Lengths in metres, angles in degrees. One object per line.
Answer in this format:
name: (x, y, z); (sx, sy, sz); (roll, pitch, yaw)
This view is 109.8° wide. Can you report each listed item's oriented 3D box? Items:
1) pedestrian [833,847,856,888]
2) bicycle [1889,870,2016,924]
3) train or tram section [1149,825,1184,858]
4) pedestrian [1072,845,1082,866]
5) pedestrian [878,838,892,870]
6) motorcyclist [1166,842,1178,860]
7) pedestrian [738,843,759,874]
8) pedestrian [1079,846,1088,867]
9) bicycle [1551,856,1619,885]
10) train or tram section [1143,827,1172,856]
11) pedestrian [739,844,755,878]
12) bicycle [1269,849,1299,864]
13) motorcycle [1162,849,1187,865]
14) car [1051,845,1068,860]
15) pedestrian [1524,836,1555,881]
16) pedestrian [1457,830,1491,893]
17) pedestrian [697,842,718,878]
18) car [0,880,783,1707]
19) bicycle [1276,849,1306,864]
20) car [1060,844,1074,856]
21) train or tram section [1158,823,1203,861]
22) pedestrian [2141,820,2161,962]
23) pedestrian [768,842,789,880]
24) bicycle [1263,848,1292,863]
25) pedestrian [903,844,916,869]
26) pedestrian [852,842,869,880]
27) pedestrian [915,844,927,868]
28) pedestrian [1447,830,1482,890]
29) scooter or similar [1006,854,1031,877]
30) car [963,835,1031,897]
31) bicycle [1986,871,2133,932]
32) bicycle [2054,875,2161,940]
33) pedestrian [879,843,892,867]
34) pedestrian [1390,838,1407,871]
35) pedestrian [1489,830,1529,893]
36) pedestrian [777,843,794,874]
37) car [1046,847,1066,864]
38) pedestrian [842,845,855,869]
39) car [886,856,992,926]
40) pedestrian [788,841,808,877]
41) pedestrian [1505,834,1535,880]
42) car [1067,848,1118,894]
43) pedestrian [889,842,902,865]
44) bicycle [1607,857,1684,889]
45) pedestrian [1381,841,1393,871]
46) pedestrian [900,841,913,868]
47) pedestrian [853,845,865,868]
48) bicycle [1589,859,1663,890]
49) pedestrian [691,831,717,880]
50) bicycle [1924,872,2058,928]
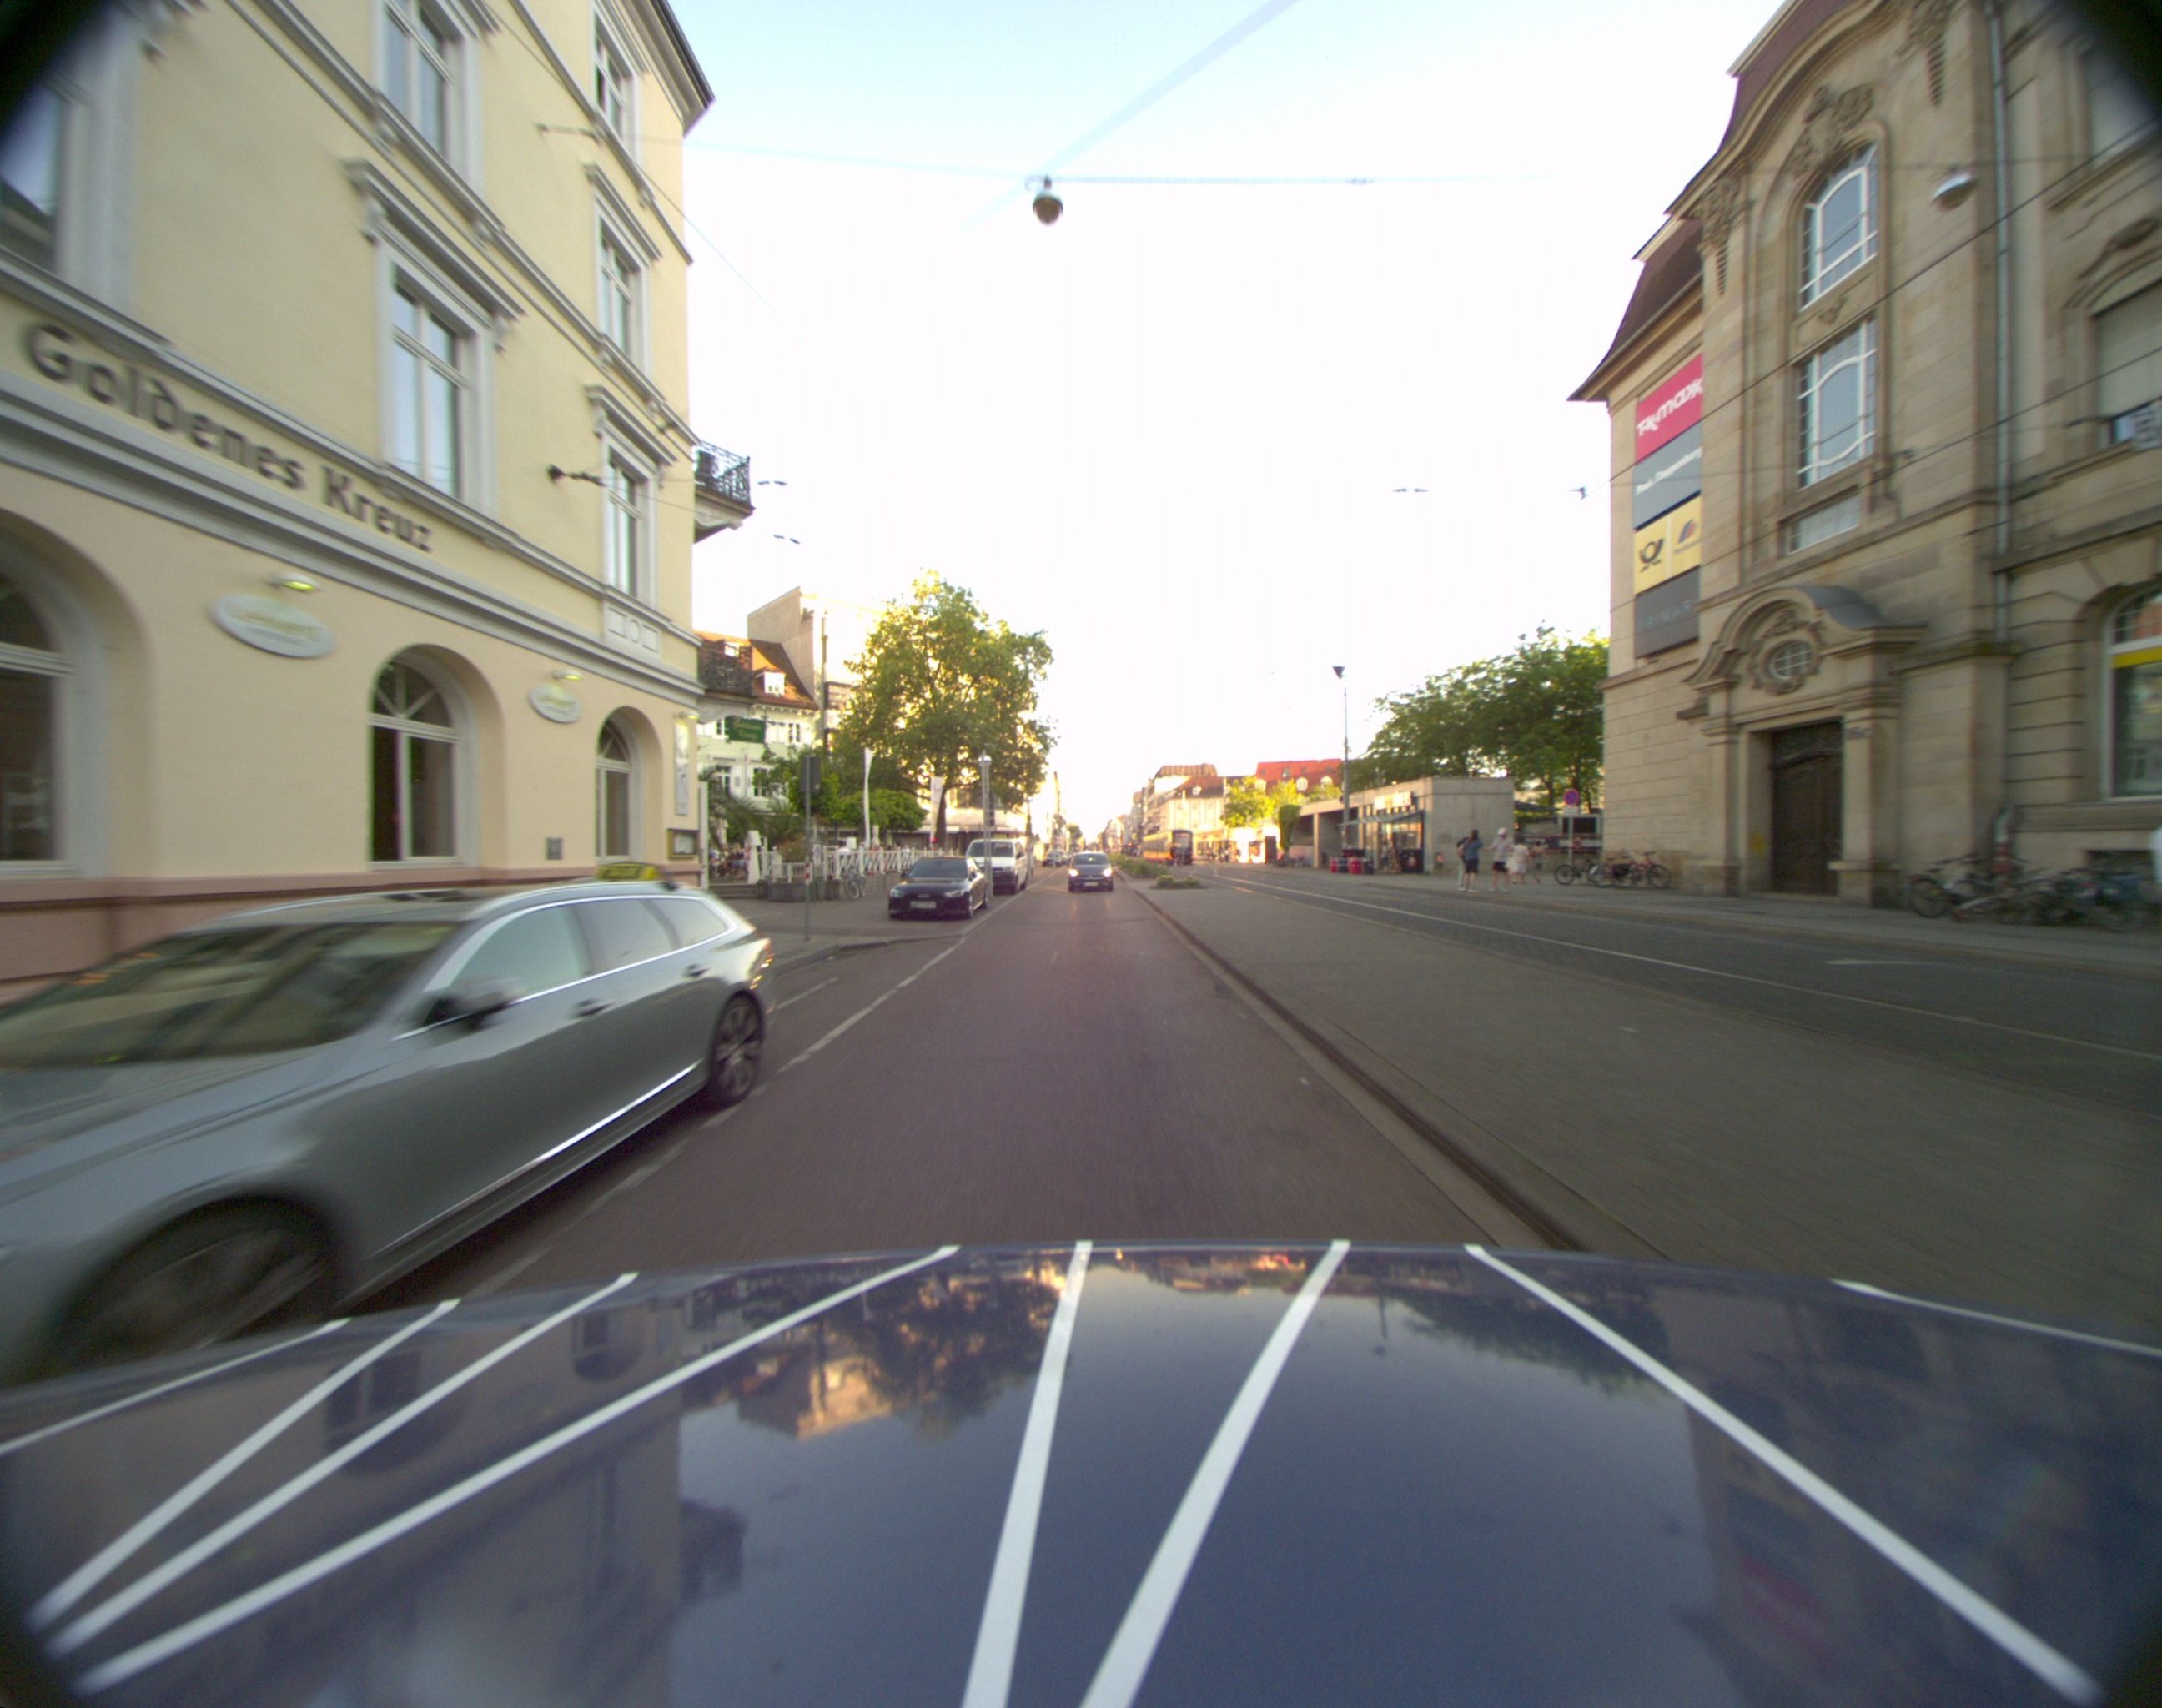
pedestrian: (-7.617, 0.423, 24.487); (0.532, 1.289, 0.491); (-1, 1, 1)
bicycle: (15.237, 0.753, 13.307); (1.579, 0.869, 0.451); (-2, 2, 5)
train or tram section: (10.273, -1.414, 92.157); (2.902, 3.664, 11.982); (-1, 0, 0)
pedestrian: (-0.324, 0.117, 60.375); (0.638, 1.616, 0.519); (-1, 2, -10)
pedestrian: (-9.495, 0.012, 36.840); (0.490, 1.549, 0.532); (-1, 1, 1)
motorcyclist: (7.529, -0.258, 62.939); (0.800, 1.431, 0.799); (-2, 2, -12)
pedestrian: (-14.762, 0.201, 33.732); (0.628, 1.325, 0.664); (-1, 1, 1)
pedestrian: (0.174, 0.168, 59.489); (0.638, 1.616, 0.519); (-1, 2, -10)
bicycle: (16.846, 0.548, 25.413); (1.839, 0.863, 0.635); (-2, 2, -1)
train or tram section: (10.375, -1.600, 103.524); (2.902, 3.664, 10.784); (-1, 0, 0)
pedestrian: (-12.242, 0.253, 27.844); (0.491, 1.259, 0.531); (-1, 1, -23)
bicycle: (16.107, 0.170, 60.300); (2.131, 1.153, 0.692); (-1, 1, 2)
motorcycle: (7.753, 0.231, 63.024); (1.780, 1.230, 0.805); (-2, 2, -13)
car: (-2.408, -0.197, 87.225); (1.771, 1.565, 3.999); (1, 1, 1)
pedestrian: (16.046, 0.156, 26.593); (0.661, 1.553, 0.679); (-1, 1, -3)
pedestrian: (11.003, 0.215, 21.300); (0.483, 1.726, 0.679); (0, 1, -15)
pedestrian: (-13.804, 0.216, 28.111); (0.490, 1.325, 0.532); (-1, 1, 1)
car: (-3.111, 1.000, 3.180); (1.810, 1.467, 4.692); (-2, 1, 0)
bicycle: (16.138, 0.202, 58.484); (2.131, 1.153, 0.692); (-1, 1, 2)
car: (-1.966, -0.503, 105.569); (1.771, 1.565, 3.999); (1, 1, 1)
train or tram section: (10.213, -1.196, 79.488); (2.902, 3.664, 13.480); (-1, 0, 0)
pedestrian: (12.601, 0.424, 8.659); (0.375, 1.622, 0.494); (-1, 2, 16)
pedestrian: (-10.830, 0.242, 27.191); (0.532, 1.325, 0.491); (-1, 1, 1)
bicycle: (15.978, 0.141, 61.841); (2.131, 1.153, 0.692); (-1, 1, 2)
pedestrian: (-8.977, 0.148, 39.753); (0.532, 1.289, 0.491); (-1, 1, 1)
pedestrian: (-7.739, 0.242, 26.634); (0.532, 1.289, 0.490); (-1, 1, -15)
pedestrian: (-8.920, 0.097, 42.365); (0.532, 1.325, 0.491); (-1, 1, 1)
pedestrian: (11.162, 0.166, 22.112); (0.650, 1.726, 0.594); (1, 1, -9)
scooter or similar: (-3.420, 0.650, 41.691); (1.345, 1.225, 0.535); (1, 2, -2)
car: (-2.983, 0.359, 27.983); (1.857, 2.055, 5.214); (0, 1, 1)
bicycle: (15.224, 0.736, 11.847); (1.579, 0.869, 0.451); (-2, 2, 5)
bicycle: (15.116, 0.758, 10.904); (1.579, 0.869, 0.451); (-2, 2, 5)
pedestrian: (-10.724, 0.059, 41.673); (0.532, 1.289, 0.491); (-1, 1, 1)
pedestrian: (16.267, 0.035, 38.898); (0.563, 1.643, 0.552); (-2, 2, -5)
pedestrian: (12.025, 0.203, 21.377); (0.676, 1.726, 0.680); (1, 1, -10)
pedestrian: (-12.651, 0.187, 32.501); (0.490, 1.325, 0.532); (-1, 1, 1)
car: (-2.361, 0.132, 72.963); (1.771, 1.565, 3.999); (1, 1, 1)
pedestrian: (-12.463, 0.162, 40.707); (0.532, 1.289, 0.491); (-1, 1, 1)
car: (-3.308, 0.800, 18.558); (1.701, 1.382, 4.546); (1, 1, 0)
pedestrian: (-10.684, 0.177, 28.692); (0.532, 1.325, 0.491); (-1, 1, 1)
pedestrian: (15.322, 0.096, 26.539); (0.661, 1.553, 0.679); (-1, 1, -3)
car: (0.442, 0.588, 28.838); (1.738, 1.495, 3.999); (-2, 1, 1)
pedestrian: (-10.120, -0.027, 41.459); (0.532, 1.289, 0.491); (-1, 1, 1)
bicycle: (16.795, 0.566, 22.634); (1.839, 0.863, 0.635); (-2, 2, -1)
pedestrian: (16.504, 0.103, 40.995); (0.394, 1.643, 0.401); (-2, 2, -5)
pedestrian: (-8.830, 0.020, 38.516); (0.532, 1.325, 0.491); (-1, 1, 1)
pedestrian: (-12.394, 0.147, 42.398); (0.532, 1.289, 0.491); (-1, 1, 1)
bicycle: (16.735, 0.611, 23.360); (1.839, 0.863, 0.635); (-2, 2, -1)
pedestrian: (-13.400, 0.050, 27.017); (0.590, 1.682, 0.732); (-1, 1, -6)
bicycle: (15.262, 0.763, 12.768); (1.579, 0.869, 0.451); (-2, 2, 5)
